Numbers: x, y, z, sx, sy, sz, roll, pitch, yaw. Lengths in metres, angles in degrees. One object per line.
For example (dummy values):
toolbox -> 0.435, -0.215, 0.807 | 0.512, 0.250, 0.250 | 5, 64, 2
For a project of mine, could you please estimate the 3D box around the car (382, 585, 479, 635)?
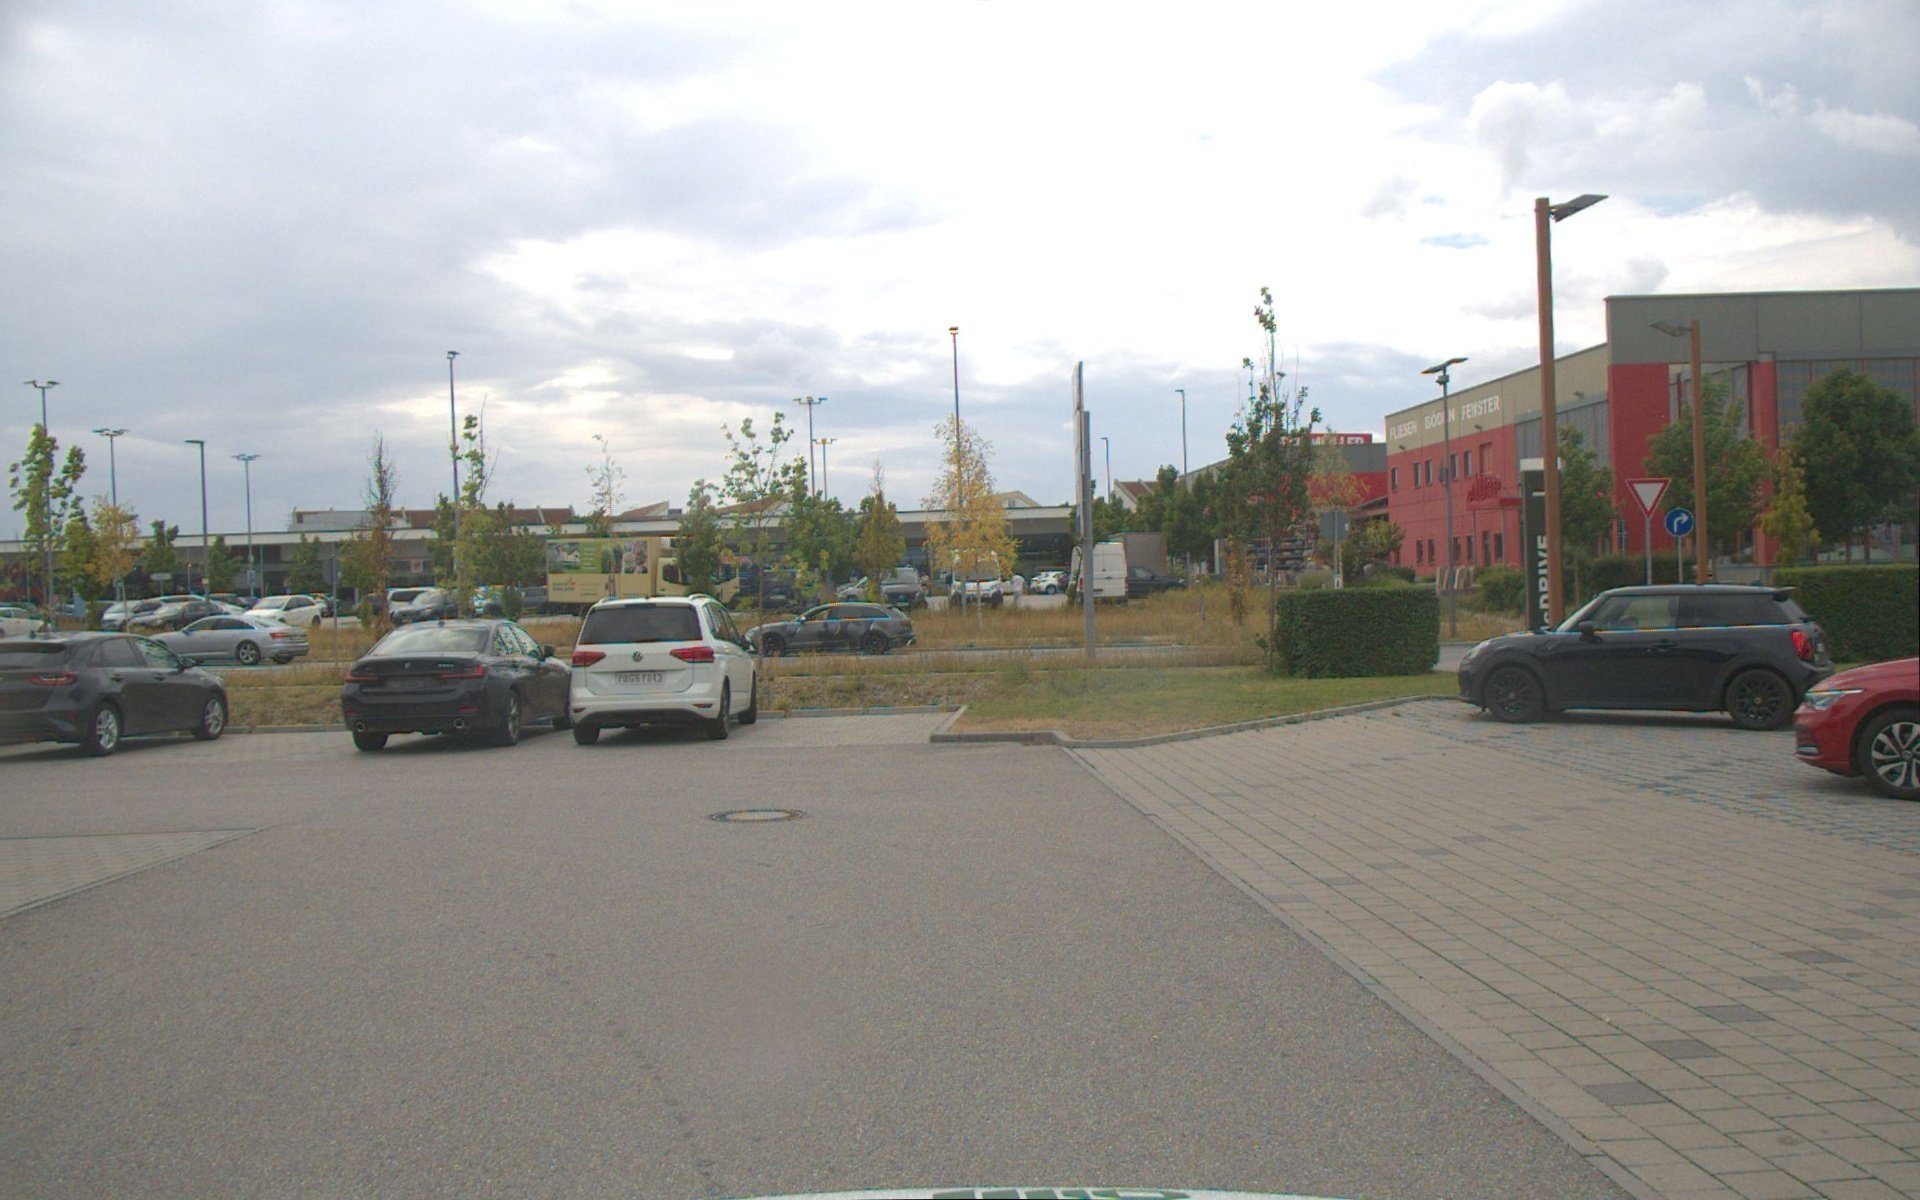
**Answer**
car -> -21.723, 0.377, 68.037 | 1.884, 1.802, 4.326 | -2, 2, 11

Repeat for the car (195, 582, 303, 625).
car -> -32.823, 0.153, 76.403 | 4.215, 1.802, 1.923 | -2, 2, 15

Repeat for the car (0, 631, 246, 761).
car -> -10.726, 1.132, 20.616 | 1.843, 1.437, 4.070 | -1, -1, 0

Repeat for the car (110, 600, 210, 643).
car -> -34.223, 0.898, 70.858 | 1.728, 1.566, 4.059 | -2, 2, 11

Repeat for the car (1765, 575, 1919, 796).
car -> 7.776, 0.561, 11.191 | 3.924, 1.490, 1.679 | 0, 0, 39

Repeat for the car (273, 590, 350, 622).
car -> -41.491, 0.357, 105.911 | 4.087, 1.869, 2.001 | -2, 2, 1

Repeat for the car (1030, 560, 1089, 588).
car -> 6.749, -1.793, 112.857 | 3.905, 1.766, 1.935 | -2, 2, 1

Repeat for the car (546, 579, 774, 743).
car -> -3.534, 0.719, 20.311 | 1.945, 1.743, 4.372 | -1, -1, 0

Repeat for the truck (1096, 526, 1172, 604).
truck -> 9.066, -1.898, 87.056 | 2.595, 3.808, 8.253 | -2, 2, -3

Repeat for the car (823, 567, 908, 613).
car -> -4.637, -0.508, 81.001 | 3.914, 2.048, 1.996 | -2, 2, -9

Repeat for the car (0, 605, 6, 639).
car -> -45.425, 1.104, 74.992 | 1.729, 1.566, 3.767 | -2, 2, 8

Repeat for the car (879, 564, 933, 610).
car -> -2.149, -0.550, 65.682 | 2.029, 1.667, 5.069 | -1, 2, -2

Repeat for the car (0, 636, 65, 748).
car -> -13.691, 1.232, 21.085 | 1.866, 1.482, 4.743 | -1, -1, 2

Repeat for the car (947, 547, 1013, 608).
car -> 0.733, -0.964, 66.121 | 2.360, 2.252, 6.058 | -1, 2, -2

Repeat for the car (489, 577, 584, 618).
car -> -21.252, -0.142, 83.074 | 4.220, 1.802, 2.000 | -2, 2, -2

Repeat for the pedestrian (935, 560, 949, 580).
pedestrian -> -1.347, -2.296, 125.377 | 0.647, 1.453, 0.787 | -3, 2, -39

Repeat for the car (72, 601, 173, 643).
car -> -36.328, 0.940, 71.832 | 1.728, 1.566, 4.059 | -2, 2, 11

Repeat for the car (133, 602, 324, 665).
car -> -21.355, 0.964, 48.401 | 4.737, 1.579, 1.803 | -2, 2, 3

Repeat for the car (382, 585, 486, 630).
car -> -23.397, 0.332, 73.633 | 3.902, 1.802, 2.002 | -1, 2, 17

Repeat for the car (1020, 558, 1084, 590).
car -> 5.806, -1.644, 104.299 | 3.905, 1.869, 2.001 | -2, 2, 1

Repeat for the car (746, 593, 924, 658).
car -> -3.446, 0.694, 46.246 | 4.739, 1.579, 1.803 | -2, 2, 1

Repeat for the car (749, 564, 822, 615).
car -> -6.978, -0.425, 66.518 | 2.027, 1.917, 5.073 | -1, 0, 4

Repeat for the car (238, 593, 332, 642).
car -> -28.456, 0.704, 69.883 | 1.952, 1.802, 4.324 | -2, 2, 3

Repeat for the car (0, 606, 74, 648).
car -> -40.988, 1.181, 71.779 | 1.952, 1.566, 4.162 | -1, 2, 21

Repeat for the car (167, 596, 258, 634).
car -> -41.627, 0.826, 92.159 | 4.087, 1.869, 2.001 | -2, 2, 1

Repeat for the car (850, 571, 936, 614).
car -> -3.095, -0.354, 76.790 | 3.907, 1.768, 1.890 | -2, 2, -2

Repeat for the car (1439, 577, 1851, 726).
car -> 7.357, 0.502, 17.887 | 3.851, 1.437, 1.681 | 0, 0, 35

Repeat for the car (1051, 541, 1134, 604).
car -> 5.215, -1.149, 66.002 | 2.292, 2.307, 6.502 | -2, 2, -4

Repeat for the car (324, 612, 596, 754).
car -> -5.932, 0.945, 20.220 | 1.901, 1.492, 4.516 | -1, -1, 0

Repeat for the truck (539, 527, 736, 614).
truck -> -13.157, -1.159, 67.112 | 8.264, 3.251, 3.019 | -1, 2, 36

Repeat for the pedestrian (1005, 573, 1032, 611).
pedestrian -> 2.329, -0.327, 65.981 | 0.955, 1.453, 0.787 | -2, 2, -4
